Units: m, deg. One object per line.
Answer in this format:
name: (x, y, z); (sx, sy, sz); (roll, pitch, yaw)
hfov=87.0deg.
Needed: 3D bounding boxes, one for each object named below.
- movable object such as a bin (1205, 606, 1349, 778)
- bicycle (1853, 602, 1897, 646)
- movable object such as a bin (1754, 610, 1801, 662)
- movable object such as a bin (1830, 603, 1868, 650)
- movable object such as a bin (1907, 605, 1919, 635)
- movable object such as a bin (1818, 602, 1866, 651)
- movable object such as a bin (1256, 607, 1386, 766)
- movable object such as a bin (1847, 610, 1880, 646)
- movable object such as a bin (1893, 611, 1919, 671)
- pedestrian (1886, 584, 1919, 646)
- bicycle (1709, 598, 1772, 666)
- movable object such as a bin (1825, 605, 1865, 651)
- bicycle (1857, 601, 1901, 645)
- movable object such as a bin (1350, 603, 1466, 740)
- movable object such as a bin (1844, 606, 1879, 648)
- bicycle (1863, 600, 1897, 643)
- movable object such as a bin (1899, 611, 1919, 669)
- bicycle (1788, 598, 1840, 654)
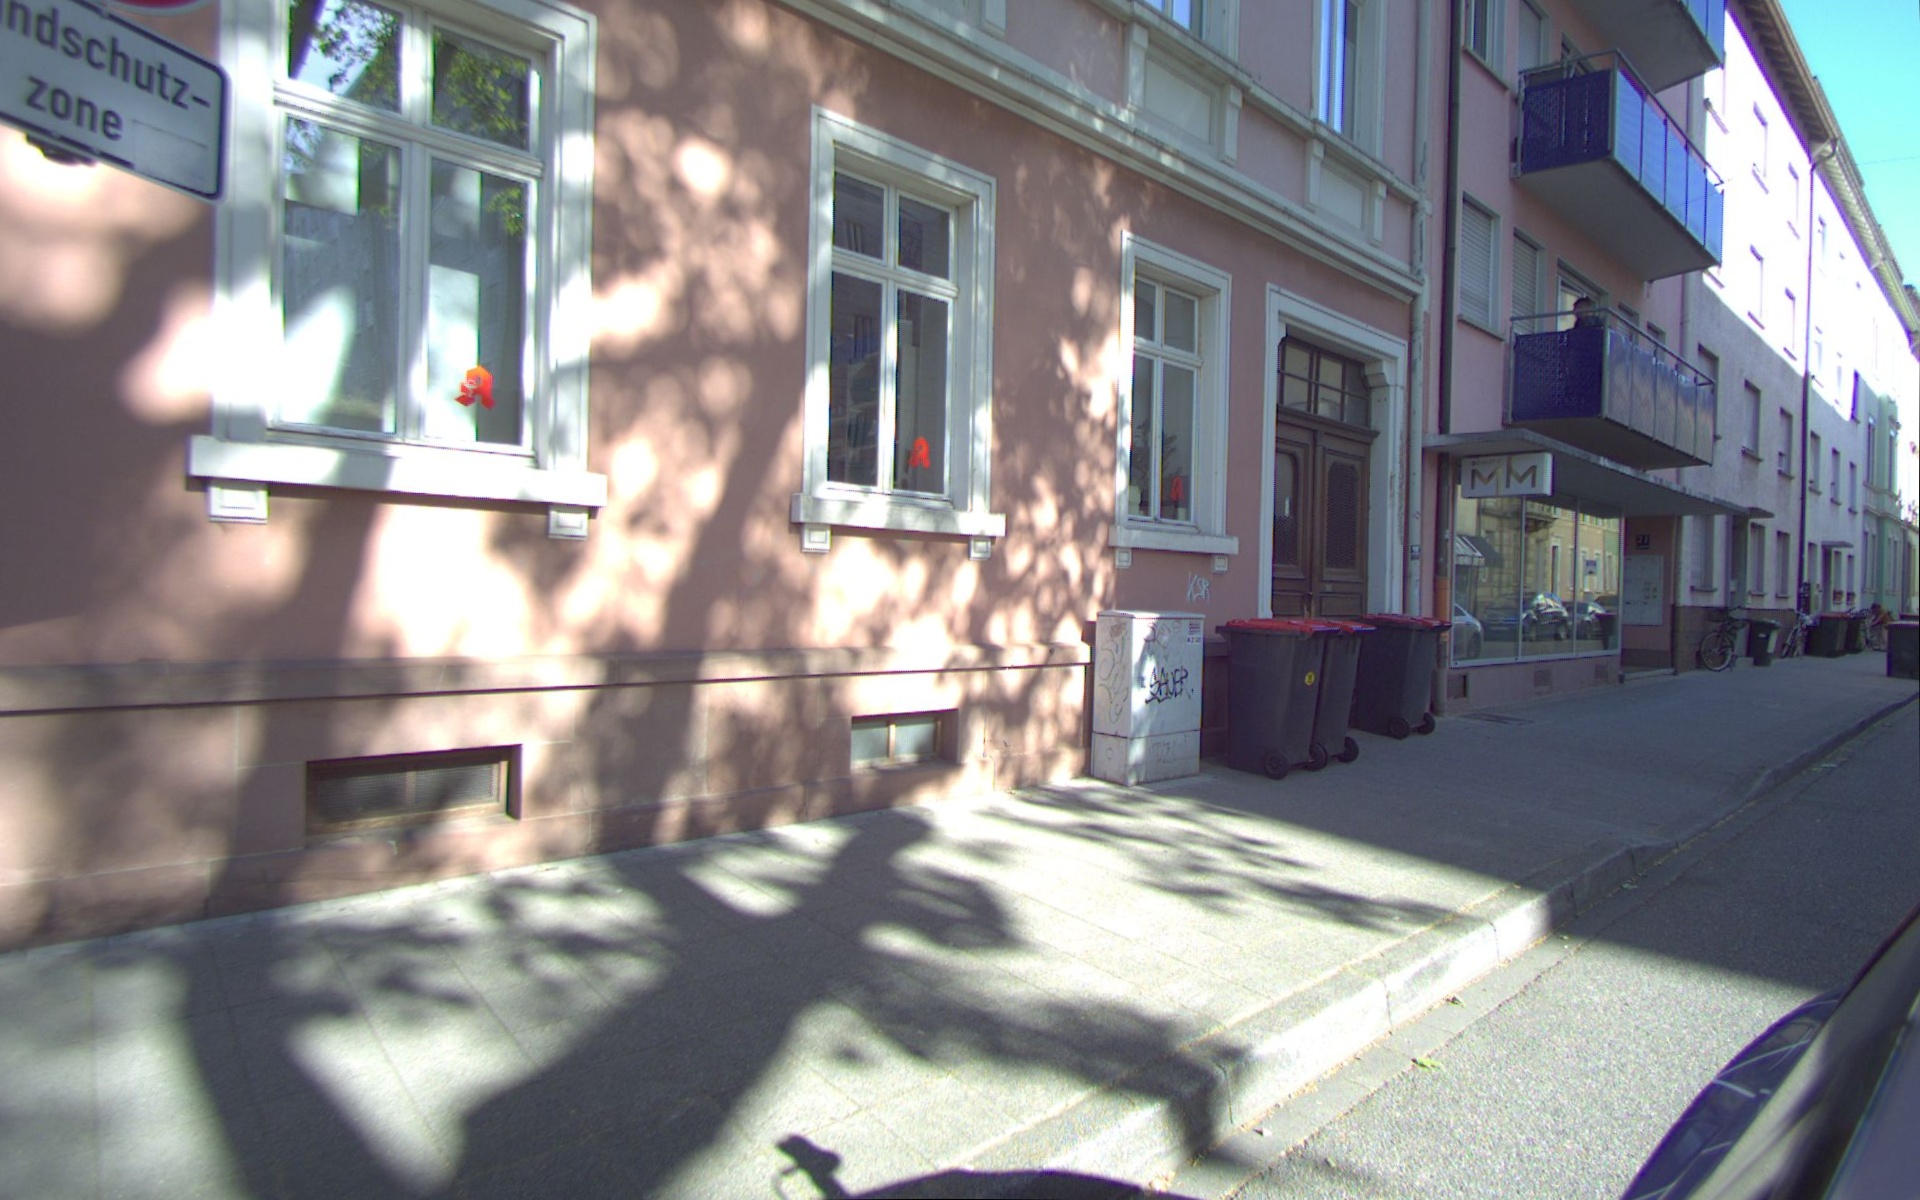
movable object such as a bin: (2.234, 0.610, 7.155); (0.623, 1.099, 0.747); (0, 1, -40)
bicycle: (25.964, 0.660, 28.719); (1.833, 1.168, 0.570); (0, 1, -37)
movable object such as a bin: (16.070, 0.691, 19.889); (0.670, 0.963, 0.599); (0, 1, -40)
movable object such as a bin: (22.546, 0.668, 25.665); (0.559, 1.136, 0.629); (0, 1, -40)
movable object such as a bin: (35.642, 0.737, 37.437); (0.661, 1.102, 0.814); (0, 1, -39)
movable object such as a bin: (21.701, 0.645, 24.904); (0.628, 1.110, 0.741); (0, 4, -40)
movable object such as a bin: (2.696, 0.613, 7.570); (0.586, 1.086, 0.703); (0, 1, -40)
movable object such as a bin: (24.969, 0.769, 27.964); (0.597, 0.936, 0.578); (0, 3, -41)
movable object such as a bin: (18.098, 0.771, 18.988); (0.681, 1.100, 0.769); (0, 1, -40)
pedestrian: (27.085, 0.427, 28.976); (0.672, 1.733, 0.658); (0, 1, -29)
bicycle: (14.014, 0.550, 18.154); (1.885, 1.148, 0.454); (0, 3, -40)
movable object such as a bin: (22.126, 0.697, 25.306); (0.582, 1.119, 0.658); (1, 1, -40)
bicycle: (26.753, 0.642, 29.444); (2.223, 1.221, 0.439); (0, 1, -35)
movable object such as a bin: (3.983, 0.604, 9.006); (0.681, 1.117, 0.730); (0, 1, -43)
movable object such as a bin: (24.540, 0.723, 27.546); (0.592, 1.075, 0.617); (1, 2, -42)
bicycle: (27.651, 0.628, 30.413); (2.120, 1.221, 0.406); (0, 1, -39)
movable object such as a bin: (18.615, 0.771, 19.463); (0.691, 1.094, 0.734); (0, 1, -40)
bicycle: (19.569, 0.582, 23.175); (2.041, 1.184, 0.538); (1, 5, -42)
